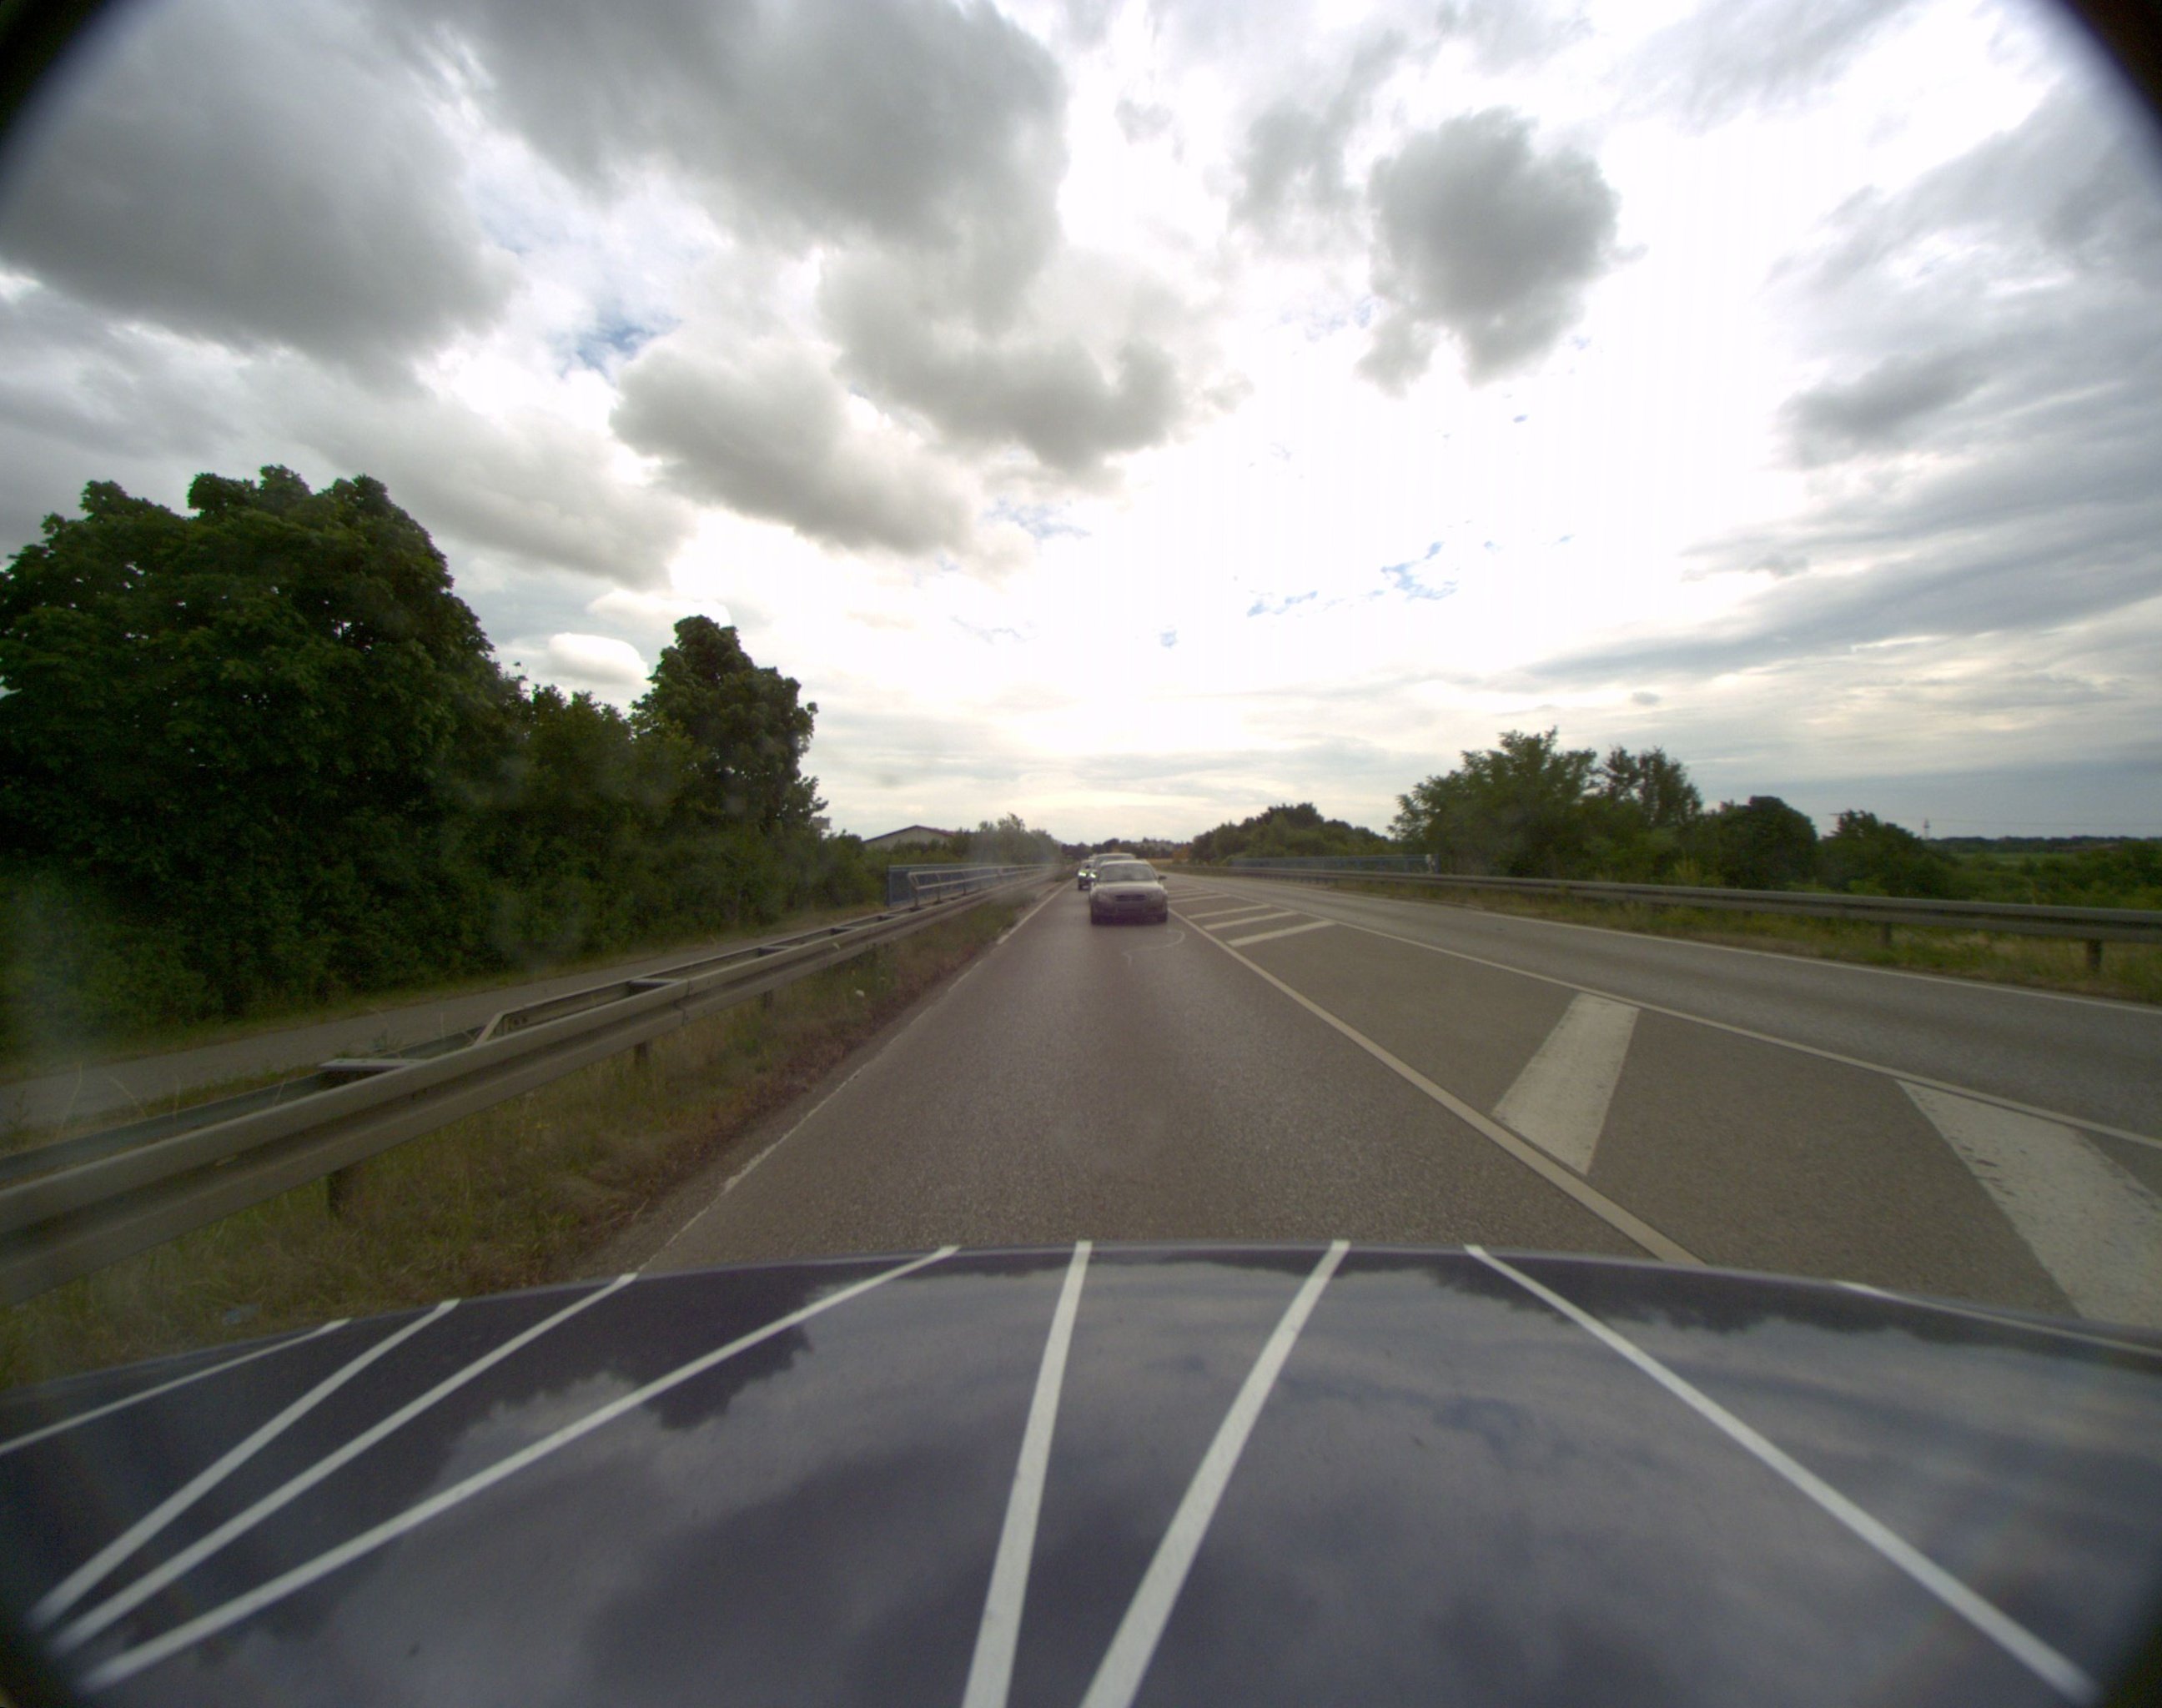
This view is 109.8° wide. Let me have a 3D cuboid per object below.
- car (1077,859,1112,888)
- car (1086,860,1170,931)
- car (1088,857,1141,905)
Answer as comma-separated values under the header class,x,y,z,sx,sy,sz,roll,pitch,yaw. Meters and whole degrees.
class,x,y,z,sx,sy,sz,roll,pitch,yaw
car,0.693,0.967,39.038,1.670,1.339,4.000,-2,0,1
car,1.032,0.916,18.283,1.768,1.383,3.876,-2,1,1
car,1.140,0.900,27.138,1.684,1.521,4.000,-2,0,1
